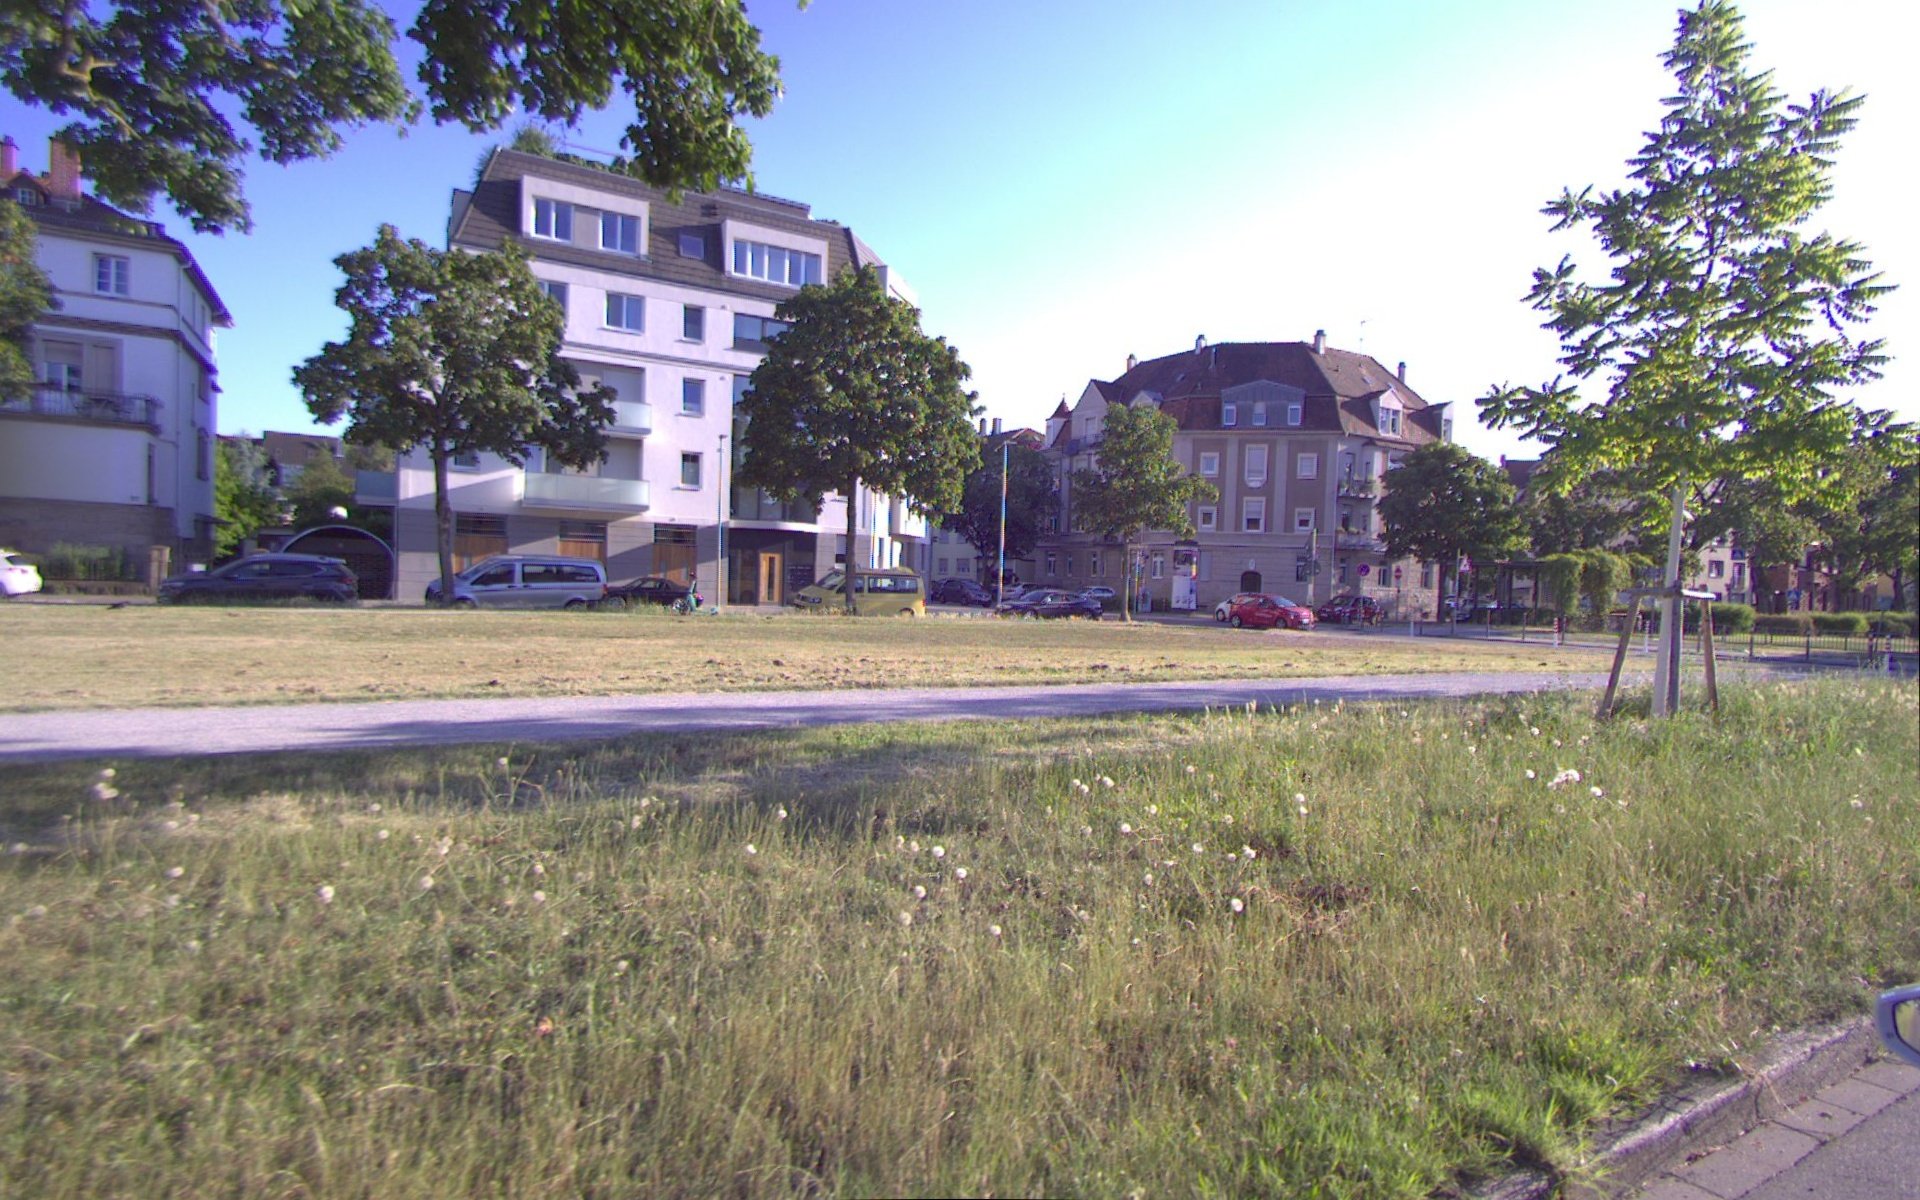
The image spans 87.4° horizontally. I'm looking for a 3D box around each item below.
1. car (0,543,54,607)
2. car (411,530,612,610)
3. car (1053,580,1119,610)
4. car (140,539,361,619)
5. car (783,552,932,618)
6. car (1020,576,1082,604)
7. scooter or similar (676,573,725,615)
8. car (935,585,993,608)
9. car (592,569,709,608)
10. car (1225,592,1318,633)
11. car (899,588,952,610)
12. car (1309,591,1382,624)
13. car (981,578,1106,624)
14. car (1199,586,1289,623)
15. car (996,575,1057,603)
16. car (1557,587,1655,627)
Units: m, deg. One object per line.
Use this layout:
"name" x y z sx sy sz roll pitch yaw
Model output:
"car" -28.804 -0.773 28.366 4.407 1.767 1.813 3 -3 -30
"car" -13.625 -0.820 30.666 5.316 2.027 2.006 3 -3 -34
"car" 8.101 -0.305 64.456 4.027 1.658 1.689 3 -3 -29
"car" -18.957 -0.493 27.170 4.637 1.852 1.919 3 -3 -30
"car" -3.672 -0.464 36.295 4.993 2.084 1.984 3 -3 -30
"car" 6.219 -0.703 68.708 3.921 1.739 1.591 2 1 -29
"scooter or similar" -7.514 -0.166 29.062 1.286 1.142 0.389 2 2 -38
"car" 0.177 -0.238 59.293 1.674 1.235 3.968 1 1 -30
"car" -11.888 -0.433 38.588 4.012 1.295 1.985 2 1 -28
"car" 13.191 0.495 42.651 1.665 1.501 3.566 0 3 -30
"car" -2.228 -0.084 63.715 1.674 1.235 3.968 1 1 -30
"car" 22.410 0.487 58.365 4.242 1.729 1.636 3 -3 -29
"car" 3.420 0.087 40.826 4.769 1.658 1.975 3 -3 -29
"car" 13.541 0.261 48.077 1.977 1.617 3.875 3 -3 -30
"car" 4.681 -0.754 70.736 4.030 1.696 1.688 3 -3 -30
"car" 49.898 0.477 77.762 6.202 2.757 1.999 3 2 30
